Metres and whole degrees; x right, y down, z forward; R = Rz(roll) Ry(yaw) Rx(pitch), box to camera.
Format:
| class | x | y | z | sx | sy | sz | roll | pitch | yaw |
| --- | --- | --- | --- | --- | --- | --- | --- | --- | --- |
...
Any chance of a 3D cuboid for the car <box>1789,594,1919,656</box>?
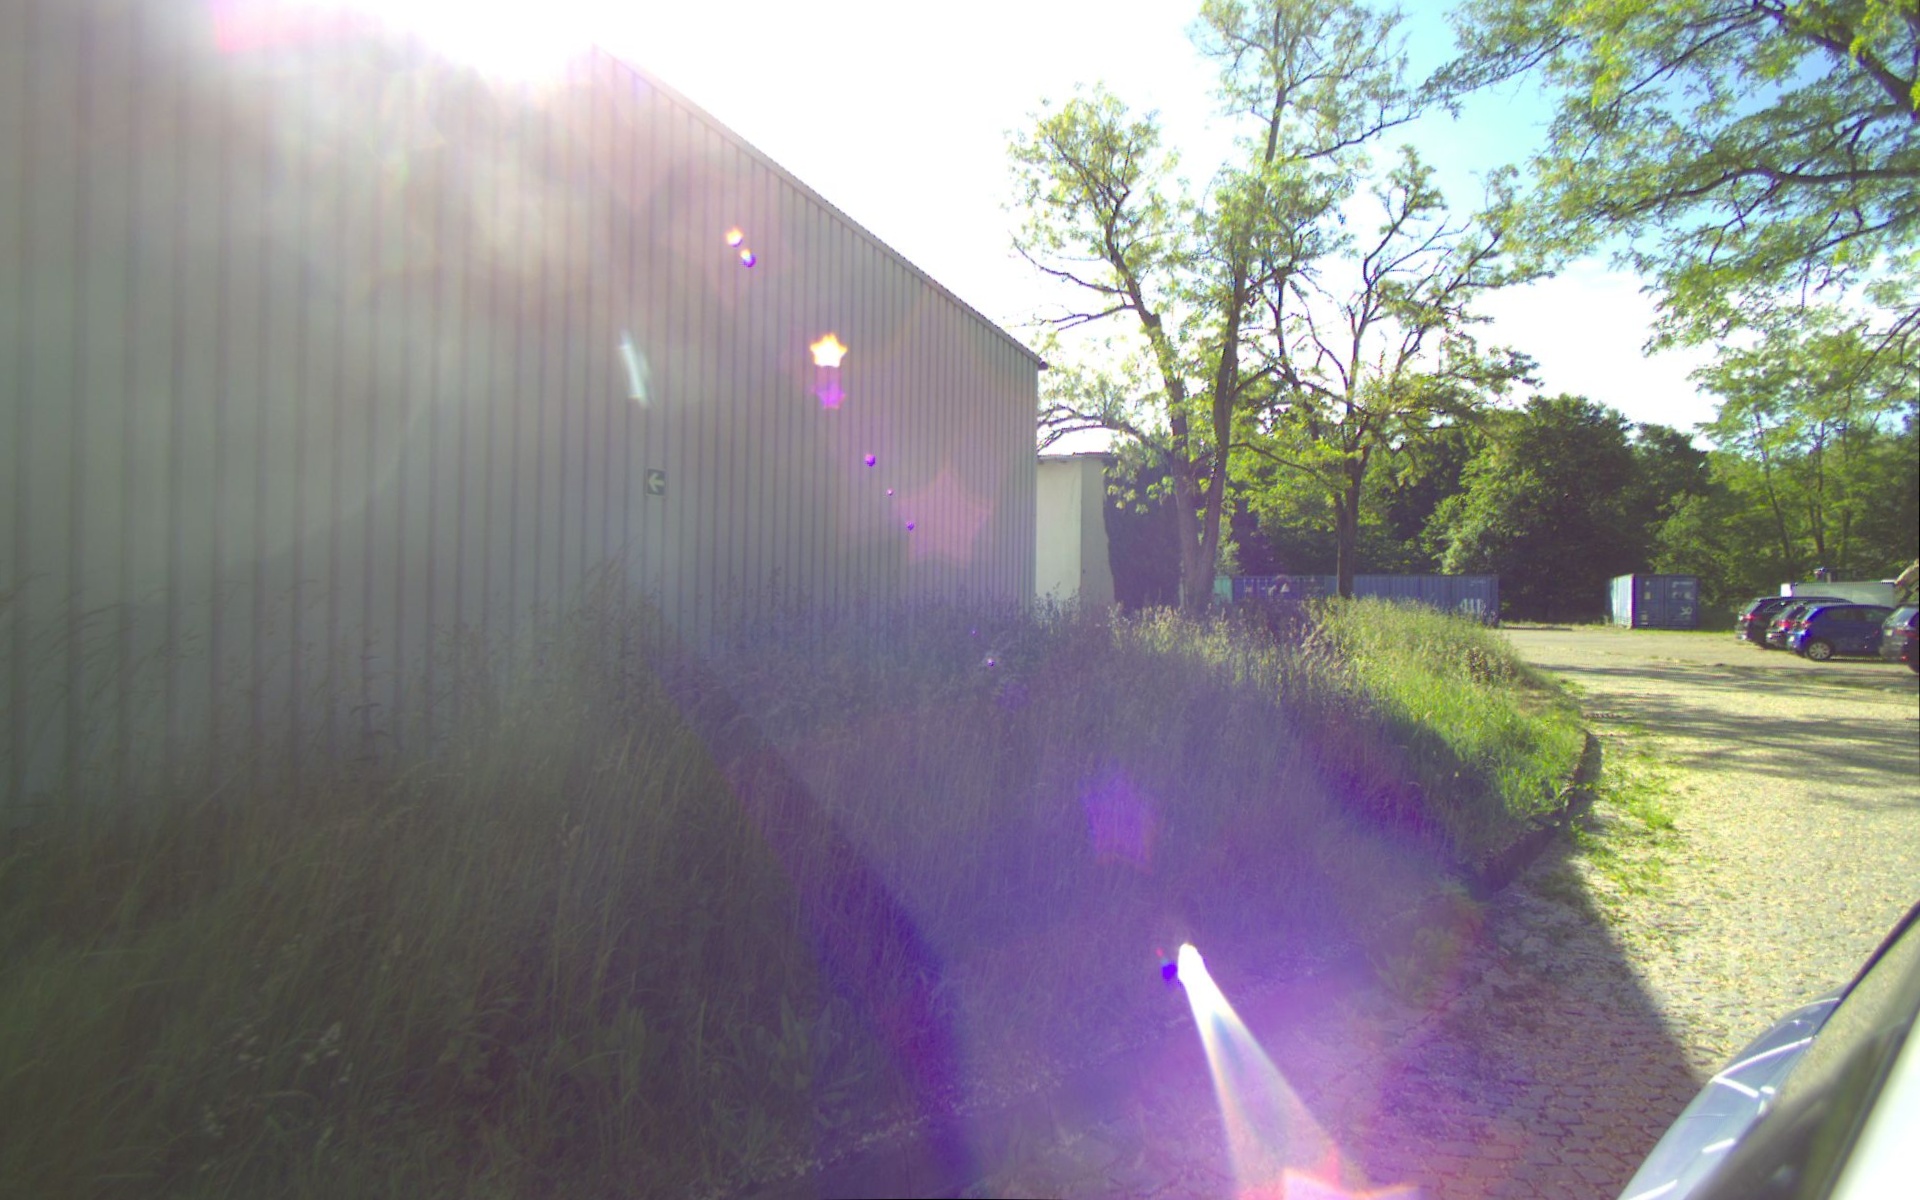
| class | x | y | z | sx | sy | sz | roll | pitch | yaw |
| --- | --- | --- | --- | --- | --- | --- | --- | --- | --- |
| car | 23.626 | 0.637 | 25.754 | 3.634 | 1.512 | 1.695 | -2 | -1 | 32 |

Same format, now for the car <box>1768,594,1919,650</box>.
| class | x | y | z | sx | sy | sz | roll | pitch | yaw |
| --- | --- | --- | --- | --- | --- | --- | --- | --- | --- |
| car | 24.870 | 0.591 | 28.016 | 3.631 | 1.469 | 1.815 | -1 | 0 | 30 |

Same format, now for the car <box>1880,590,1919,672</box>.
| class | x | y | z | sx | sy | sz | roll | pitch | yaw |
| --- | --- | --- | --- | --- | --- | --- | --- | --- | --- |
| car | 21.845 | 0.611 | 20.663 | 4.152 | 1.677 | 1.799 | -1 | -1 | 29 |

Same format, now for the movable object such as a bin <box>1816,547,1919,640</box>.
| class | x | y | z | sx | sy | sz | roll | pitch | yaw |
| --- | --- | --- | --- | --- | --- | --- | --- | --- | --- |
| movable object such as a bin | 31.588 | -0.207 | 33.185 | 5.129 | 3.003 | 1.975 | 1 | 0 | 34 |

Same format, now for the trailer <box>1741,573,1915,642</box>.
| class | x | y | z | sx | sy | sz | roll | pitch | yaw |
| --- | --- | --- | --- | --- | --- | --- | --- | --- | --- |
| trailer | 27.715 | 0.258 | 32.472 | 3.939 | 2.120 | 1.621 | -1 | -1 | 31 |

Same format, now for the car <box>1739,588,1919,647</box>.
| class | x | y | z | sx | sy | sz | roll | pitch | yaw |
| --- | --- | --- | --- | --- | --- | --- | --- | --- | --- |
| car | 25.823 | 0.495 | 30.255 | 3.791 | 1.662 | 1.847 | 0 | 0 | 32 |

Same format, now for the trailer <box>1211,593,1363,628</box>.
| class | x | y | z | sx | sy | sz | roll | pitch | yaw |
| --- | --- | --- | --- | --- | --- | --- | --- | --- | --- |
| trailer | 15.441 | 0.458 | 47.815 | 6.436 | 1.536 | 2.826 | 0 | 1 | 30 |
